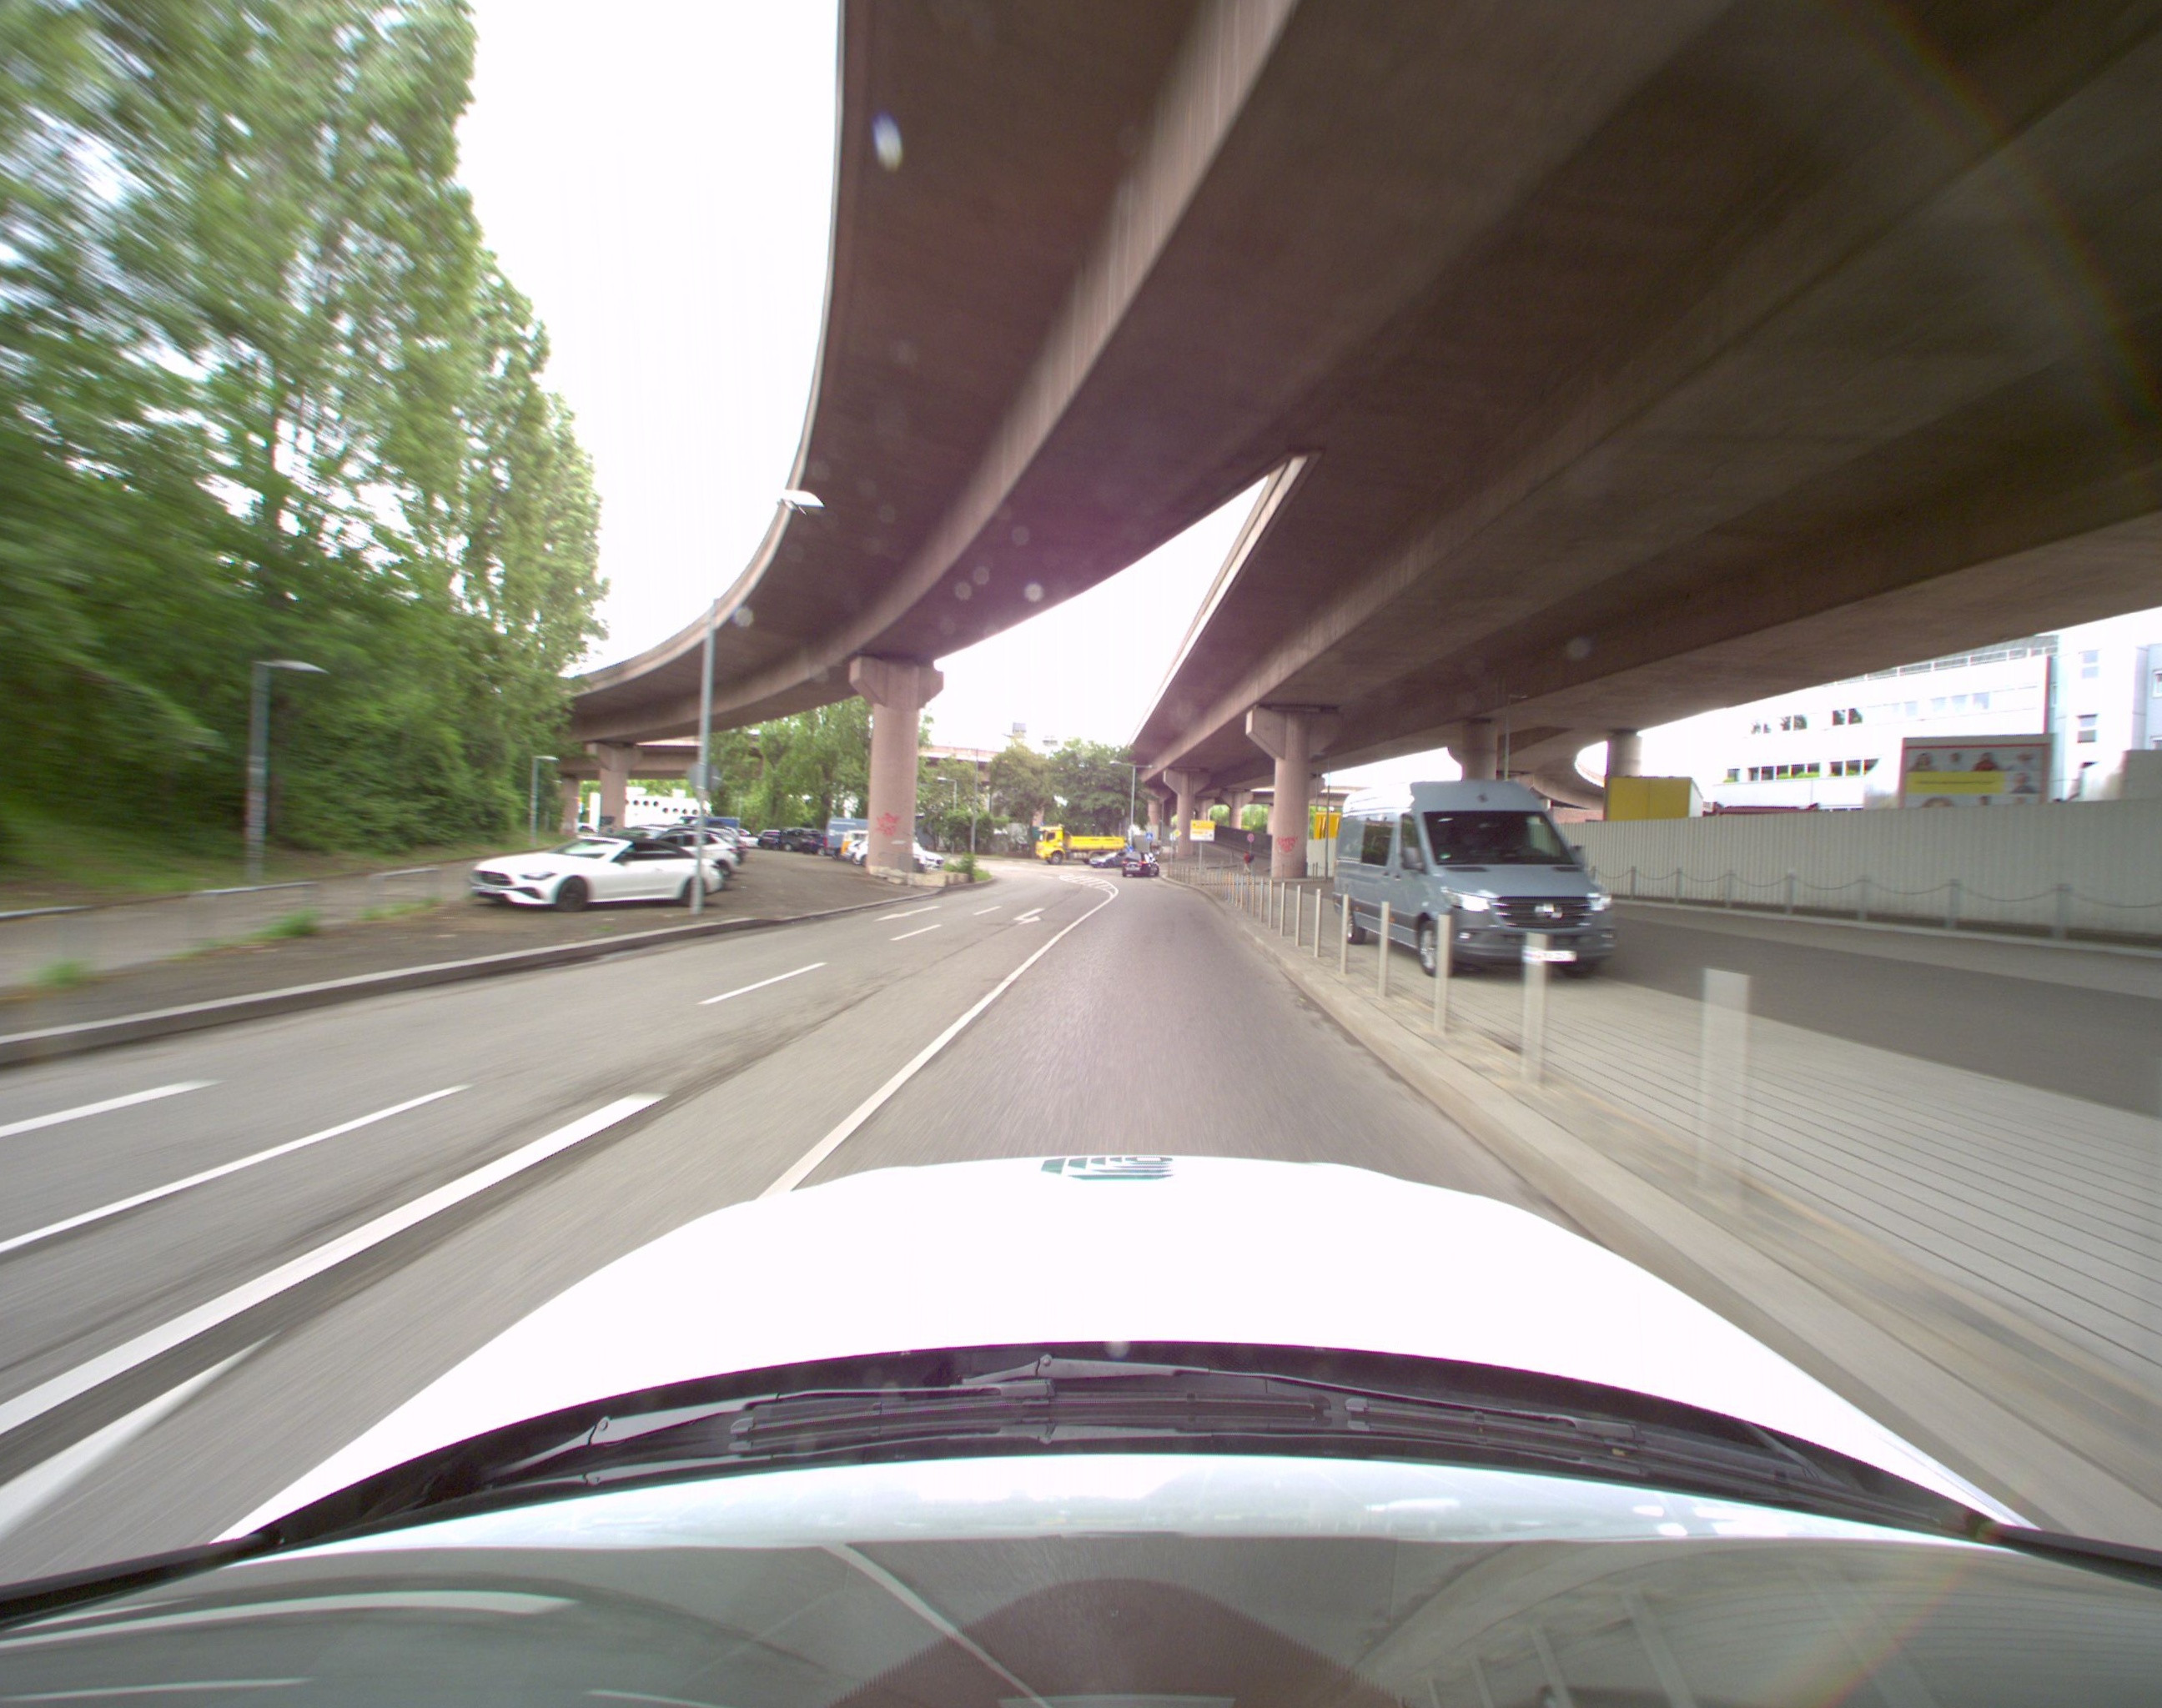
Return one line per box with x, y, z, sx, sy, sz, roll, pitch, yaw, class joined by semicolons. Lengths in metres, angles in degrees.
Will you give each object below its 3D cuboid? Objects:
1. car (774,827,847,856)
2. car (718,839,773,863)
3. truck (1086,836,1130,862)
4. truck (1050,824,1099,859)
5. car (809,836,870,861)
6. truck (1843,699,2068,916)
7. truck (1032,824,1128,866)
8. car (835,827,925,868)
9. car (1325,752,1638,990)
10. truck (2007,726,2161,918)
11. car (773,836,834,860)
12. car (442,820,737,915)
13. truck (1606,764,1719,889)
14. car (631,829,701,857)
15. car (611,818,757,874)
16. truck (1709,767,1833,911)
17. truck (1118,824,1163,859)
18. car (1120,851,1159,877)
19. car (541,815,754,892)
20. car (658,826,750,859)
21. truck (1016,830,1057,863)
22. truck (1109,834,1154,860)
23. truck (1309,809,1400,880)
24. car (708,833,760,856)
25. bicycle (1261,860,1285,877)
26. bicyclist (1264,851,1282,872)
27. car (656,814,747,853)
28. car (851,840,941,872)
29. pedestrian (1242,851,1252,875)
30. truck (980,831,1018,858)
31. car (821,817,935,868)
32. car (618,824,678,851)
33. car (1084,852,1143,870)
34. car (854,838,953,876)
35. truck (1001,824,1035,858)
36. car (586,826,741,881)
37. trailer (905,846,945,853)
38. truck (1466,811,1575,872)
-21.755;-0.993;65.675;5.069;2.072;2.261;1;-1;2;car
-28.874;-0.263;70.200;3.990;2.013;1.992;1;0;-13;car
3.144;-0.648;97.320;2.927;2.898;6.512;0;2;-22;truck
-0.855;-1.527;95.736;3.078;3.867;7.991;0;2;-22;truck
-17.250;-0.399;58.294;3.990;1.740;2.013;0;0;-13;car
24.286;-1.051;23.224;3.108;4.924;9.786;0;0;40;truck
-0.102;-0.804;75.199;8.235;3.480;2.922;1;4;-17;truck
-11.477;-0.384;46.748;4.532;2.111;1.854;3;0;7;car
5.339;0.170;12.058;1.985;2.613;6.080;1;0;4;car
27.094;-0.662;20.967;2.778;4.158;9.992;0;0;40;truck
-20.440;-0.439;60.091;3.990;1.730;1.992;0;0;-13;car
-9.675;0.324;16.618;1.978;1.480;4.851;6;-1;20;car
24.338;-0.969;33.829;3.107;4.443;9.786;0;0;40;truck
-30.425;-0.847;59.844;1.824;1.800;4.327;0;4;23;car
-13.347;-0.228;27.674;1.841;1.691;4.186;2;0;23;car
24.127;-0.412;28.450;2.861;4.183;10.128;0;0;41;truck
7.609;-1.666;105.877;3.073;4.299;8.002;1;2;-17;truck
4.017;0.650;55.302;1.980;1.679;4.576;1;0;13;car
-10.753;0.053;20.628;1.977;1.582;4.421;6;0;20;car
-20.116;-0.572;43.634;1.878;1.675;4.178;1;0;25;car
-5.527;-0.901;99.921;3.076;3.963;6.877;1;0;-20;truck
6.020;-0.896;98.779;2.927;2.898;6.512;0;2;-22;truck
20.421;-0.581;60.467;3.108;4.917;8.770;2;0;41;truck
-31.744;-0.819;74.587;3.990;2.013;1.992;1;0;-13;car
12.628;0.926;53.673;0.802;1.097;2.124;0;0;-10;bicycle
12.631;0.480;53.678;0.796;1.405;1.063;0;0;-10;bicyclist
-23.315;-1.205;50.247;2.100;2.254;5.043;0;0;20;car
-9.979;0.102;44.124;4.219;1.371;2.005;4;1;9;car
12.054;0.646;59.059;0.537;1.676;0.556;0;1;-13;pedestrian
-11.744;-1.390;116.046;3.069;3.618;7.855;1;2;-24;truck
-12.281;-0.680;49.600;6.148;2.724;2.370;3;0;4;car
-34.179;-1.279;64.409;1.640;1.712;4.099;4;-1;17;car
2.798;0.612;69.590;4.959;1.502;2.147;1;0;-43;car
-8.957;0.133;41.139;4.352;1.605;1.961;4;0;12;car
-9.339;-2.033;119.862;3.210;4.779;8.004;1;2;-17;truck
-12.226;-0.002;24.097;1.771;1.454;3.767;2;0;22;car
-19.912;-0.596;103.660;2.167;0.743;6.220;-3;4;-41;trailer
23.952;-0.655;44.110;3.108;2.944;8.771;-2;-1;42;truck
